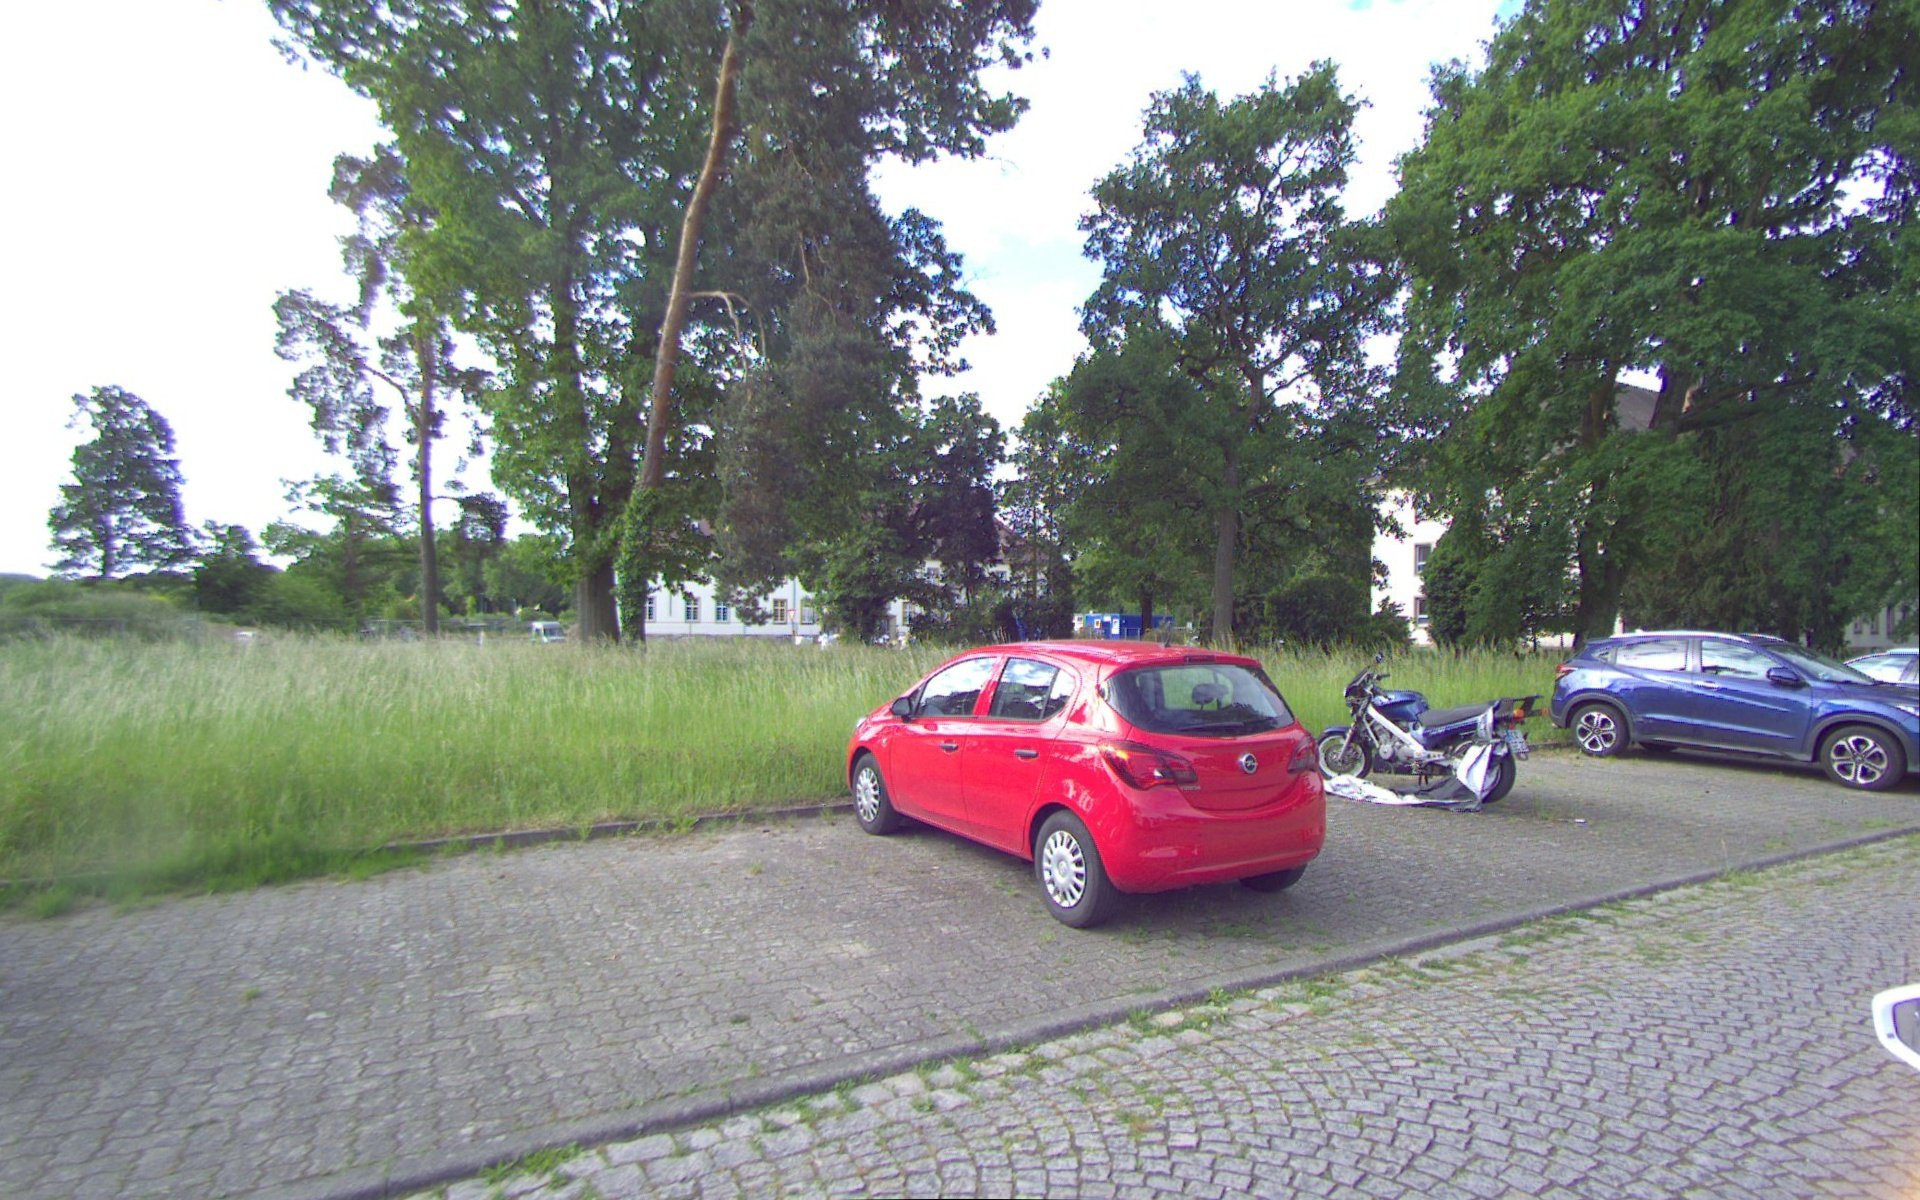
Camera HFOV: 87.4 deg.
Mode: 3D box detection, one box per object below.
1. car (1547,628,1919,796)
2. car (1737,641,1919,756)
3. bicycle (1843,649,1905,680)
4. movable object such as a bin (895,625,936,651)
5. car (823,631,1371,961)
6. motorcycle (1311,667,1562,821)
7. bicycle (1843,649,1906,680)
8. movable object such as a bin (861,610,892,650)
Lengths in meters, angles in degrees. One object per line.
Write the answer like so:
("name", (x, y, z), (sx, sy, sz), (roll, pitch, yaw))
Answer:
("car", (9.433, 1.163, 11.811), (1.767, 1.625, 4.051), (1, -1, -31))
("car", (13.536, 1.364, 13.973), (1.604, 1.486, 4.059), (1, -1, -25))
("bicycle", (33.819, 2.386, 37.200), (1.682, 1.067, 0.572), (-1, -3, 41))
("movable object such as a bin", (-4.220, 3.602, 94.776), (2.347, 2.283, 4.496), (3, -3, -24))
("car", (0.609, 0.988, 6.845), (1.766, 1.509, 3.798), (1, -1, -30))
("motorcycle", (4.349, 1.257, 9.395), (0.638, 1.174, 2.219), (1, -2, -26))
("bicycle", (33.448, 2.355, 36.756), (1.682, 1.067, 0.572), (-1, -3, 41))
("movable object such as a bin", (-8.286, 2.993, 99.164), (2.104, 3.689, 6.123), (2, -3, -12))
